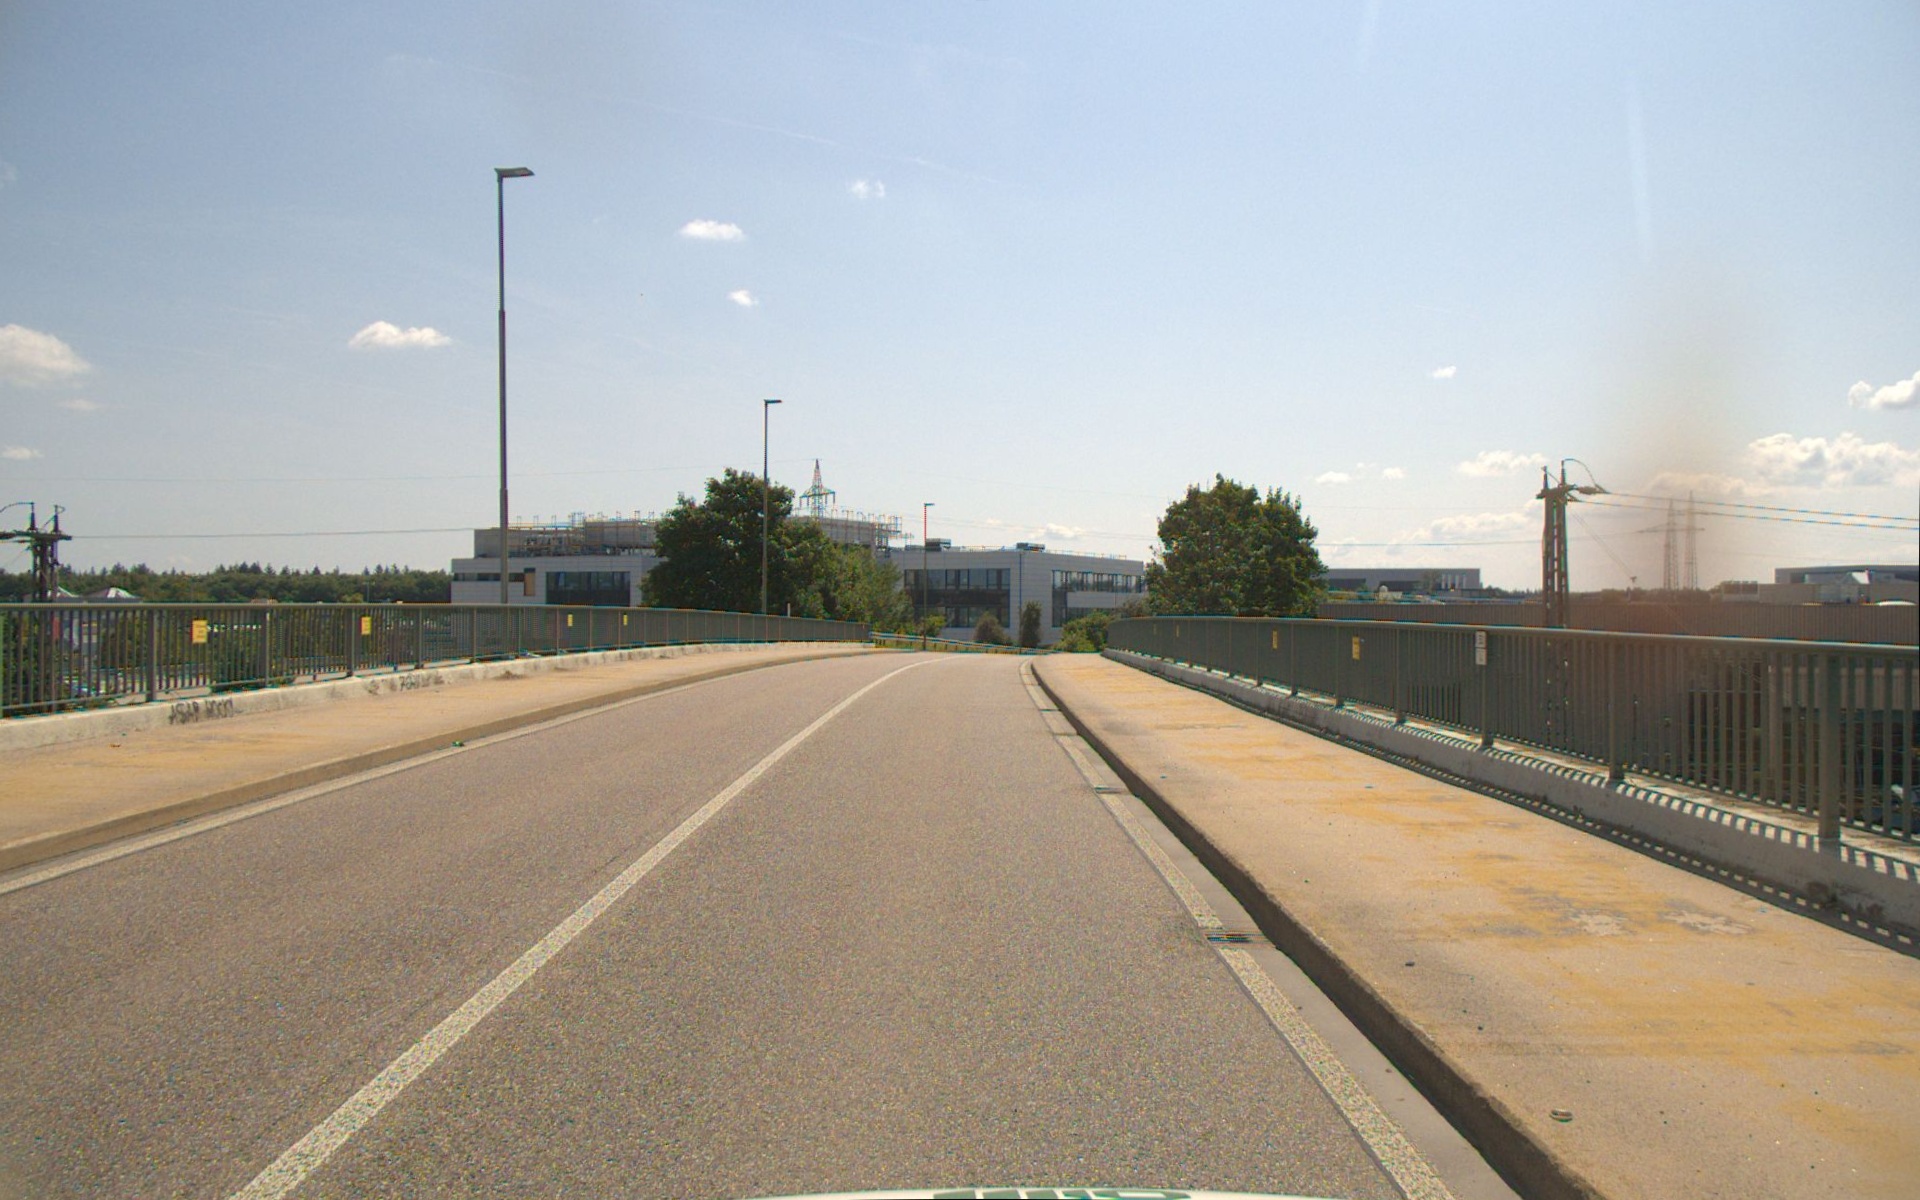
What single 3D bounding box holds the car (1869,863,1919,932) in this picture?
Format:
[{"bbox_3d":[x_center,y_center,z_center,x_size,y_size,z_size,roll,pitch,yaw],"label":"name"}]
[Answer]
[{"bbox_3d":[29.843,9.230,50.424,1.952,1.623,4.245,5,0,2],"label":"car"}]
